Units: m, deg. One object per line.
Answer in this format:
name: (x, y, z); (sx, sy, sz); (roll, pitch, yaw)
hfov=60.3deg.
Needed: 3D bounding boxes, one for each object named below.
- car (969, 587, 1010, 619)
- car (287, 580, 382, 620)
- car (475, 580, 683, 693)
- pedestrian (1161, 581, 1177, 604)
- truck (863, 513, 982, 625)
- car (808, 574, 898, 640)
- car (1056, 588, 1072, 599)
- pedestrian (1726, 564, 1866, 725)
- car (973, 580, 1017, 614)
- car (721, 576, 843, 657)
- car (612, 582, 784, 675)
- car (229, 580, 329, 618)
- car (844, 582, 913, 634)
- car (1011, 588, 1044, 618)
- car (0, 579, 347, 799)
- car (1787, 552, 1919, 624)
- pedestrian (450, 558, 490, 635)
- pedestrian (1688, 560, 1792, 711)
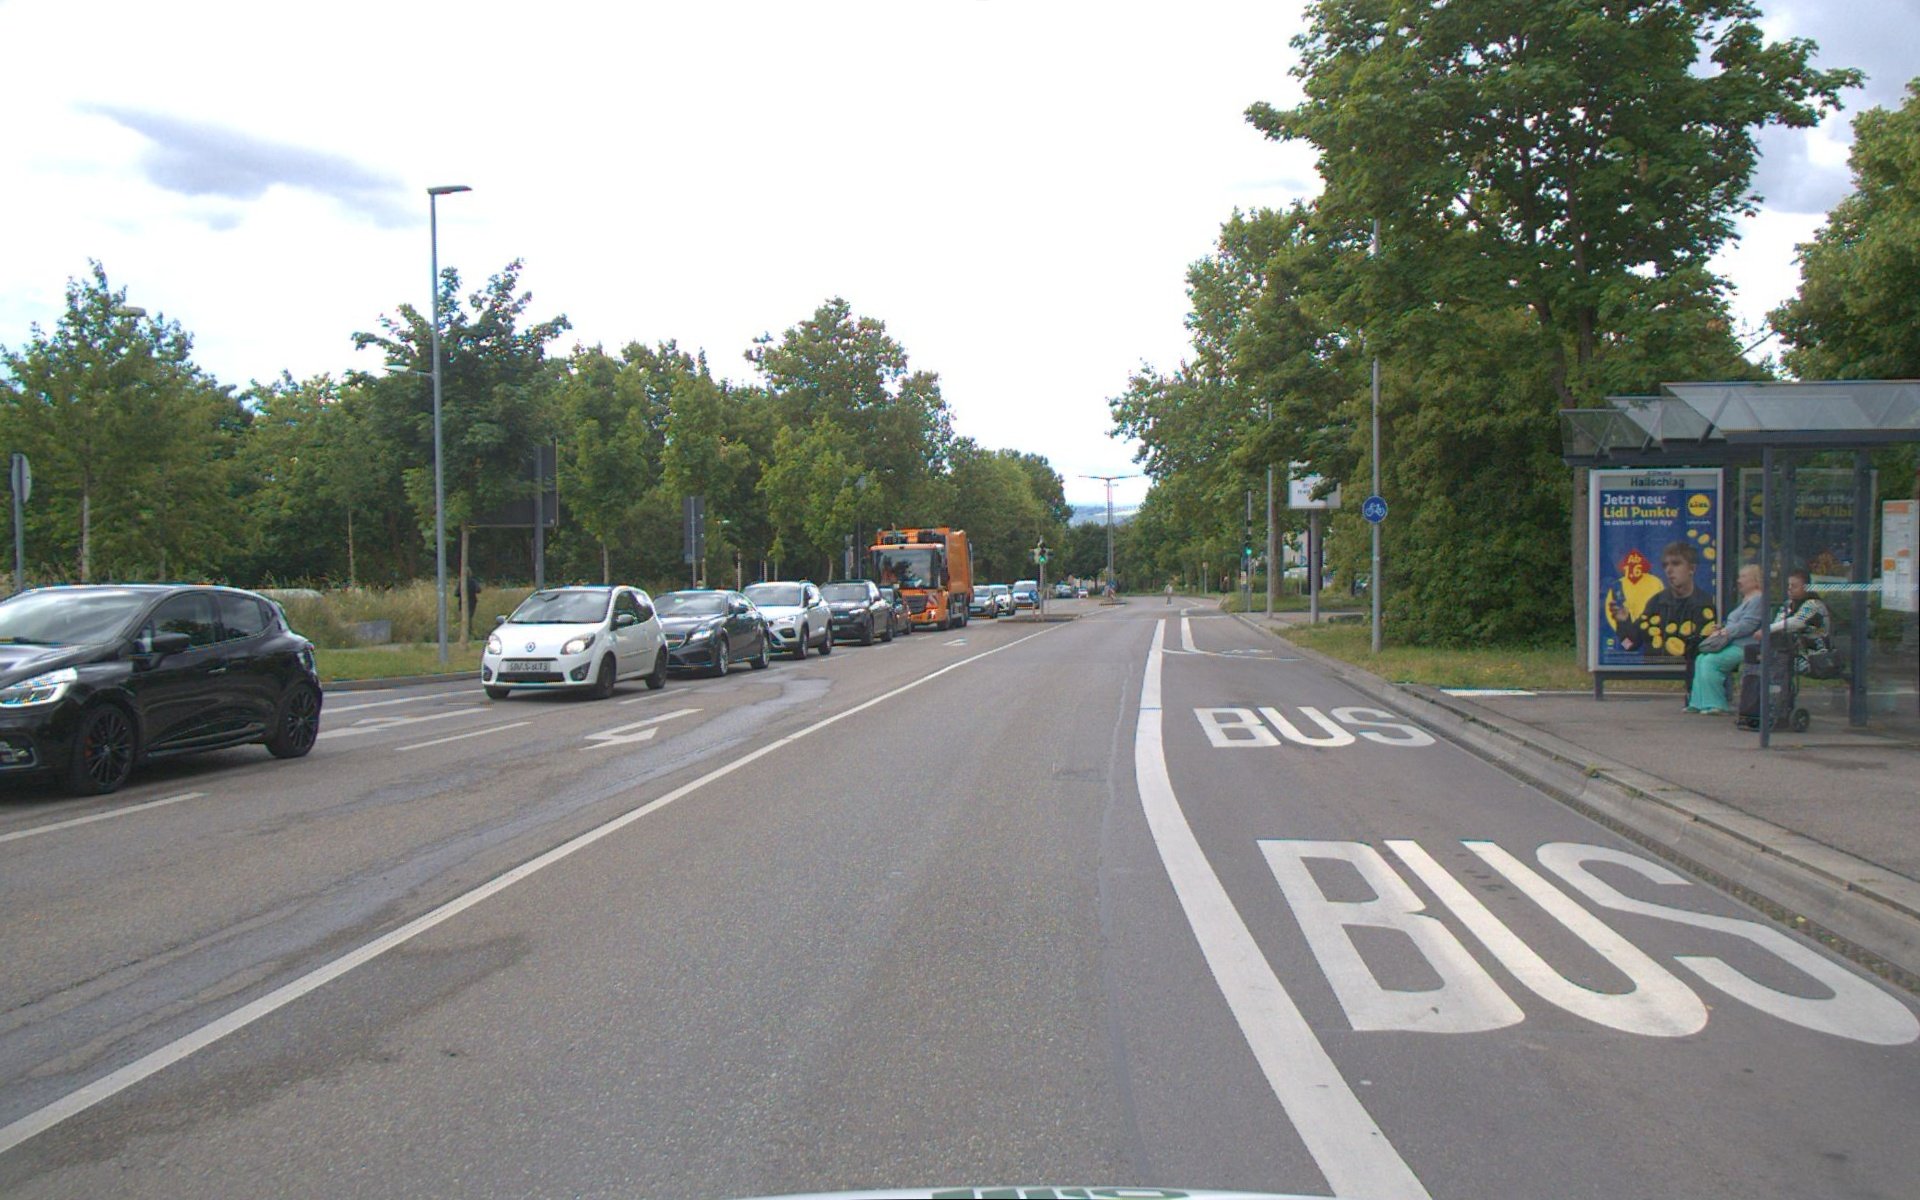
car: (1.364, 0.104, 75.394); (1.514, 1.354, 3.656); (-3, 0, 6)
car: (-37.327, -0.018, 98.763); (4.863, 2.229, 2.001); (-1, 0, 3)
car: (-5.120, 0.445, 22.719); (1.604, 1.415, 3.765); (-1, 1, 6)
pedestrian: (13.444, -0.490, 106.328); (0.775, 1.489, 0.747); (-1, 0, -12)
truck: (-1.146, -1.046, 57.912); (2.648, 3.548, 10.003); (-1, 1, 7)
car: (-2.721, 0.155, 42.828); (1.604, 1.613, 4.064); (-1, 1, 6)
car: (13.120, -0.831, 208.772); (1.734, 1.327, 4.003); (0, 0, 7)
pedestrian: (6.865, 0.344, 13.592); (0.767, 1.274, 0.763); (0, 1, -35)
car: (1.805, -0.163, 83.630); (1.807, 1.547, 4.819); (-3, 0, 6)
car: (-3.710, 0.313, 35.207); (1.693, 1.613, 4.227); (-1, 1, 6)
car: (-4.301, 0.410, 27.916); (1.604, 1.415, 4.889); (-1, 1, 6)
car: (-39.032, -0.081, 94.869); (4.862, 2.049, 2.001); (-1, 0, 4)
car: (-2.378, 0.208, 48.964); (1.403, 1.483, 3.898); (-1, 1, 6)
car: (4.382, 0.169, 107.039); (1.807, 1.835, 4.654); (-3, 0, 6)
car: (-6.310, 0.531, 12.297); (1.604, 1.355, 4.064); (-1, 1, 6)
car: (30.693, -0.401, 56.229); (1.968, 2.367, 4.393); (-1, 0, -25)
pedestrian: (-12.129, -0.084, 40.934); (0.705, 1.867, 0.678); (-1, 0, 7)
pedestrian: (7.047, 0.308, 14.965); (0.712, 1.339, 0.589); (0, 1, 9)
